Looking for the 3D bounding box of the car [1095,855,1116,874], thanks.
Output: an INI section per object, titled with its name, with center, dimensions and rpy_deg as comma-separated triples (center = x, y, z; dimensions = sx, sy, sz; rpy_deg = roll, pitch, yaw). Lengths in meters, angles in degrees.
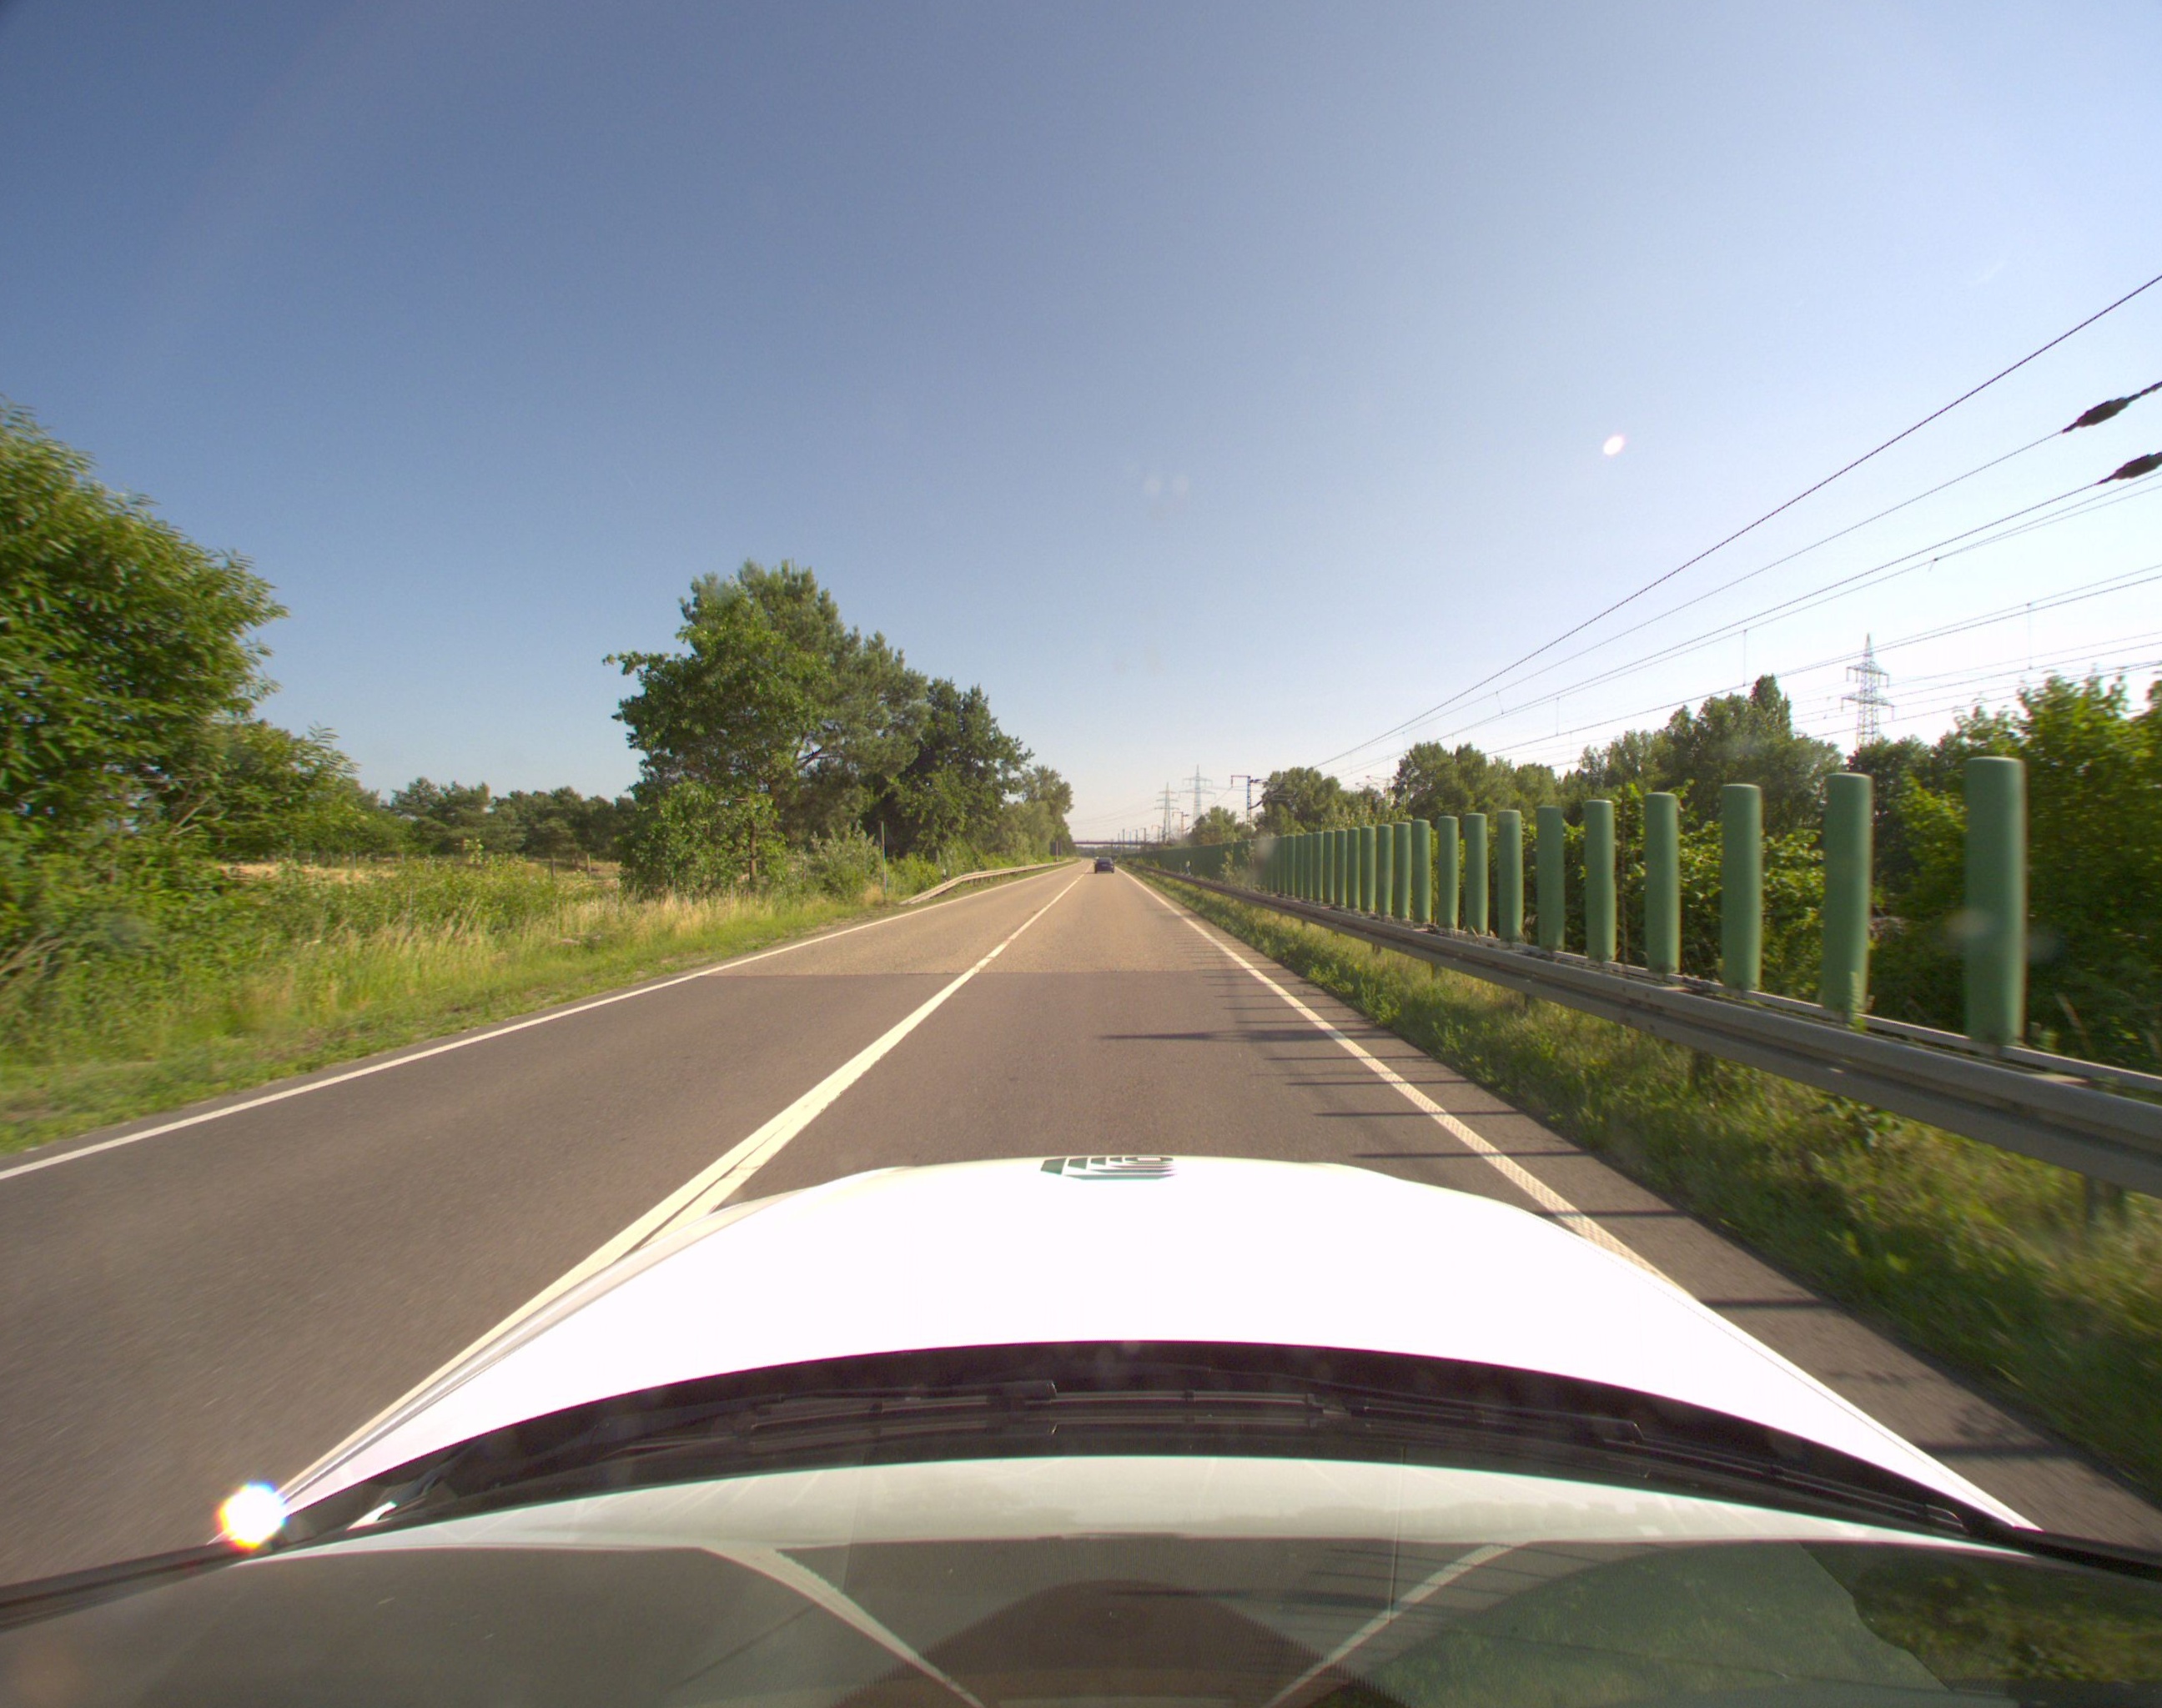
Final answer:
[car]
center = 2.298, 0.953, 76.121
dimensions = 1.852, 1.642, 4.000
rpy_deg = -2, 0, 0
